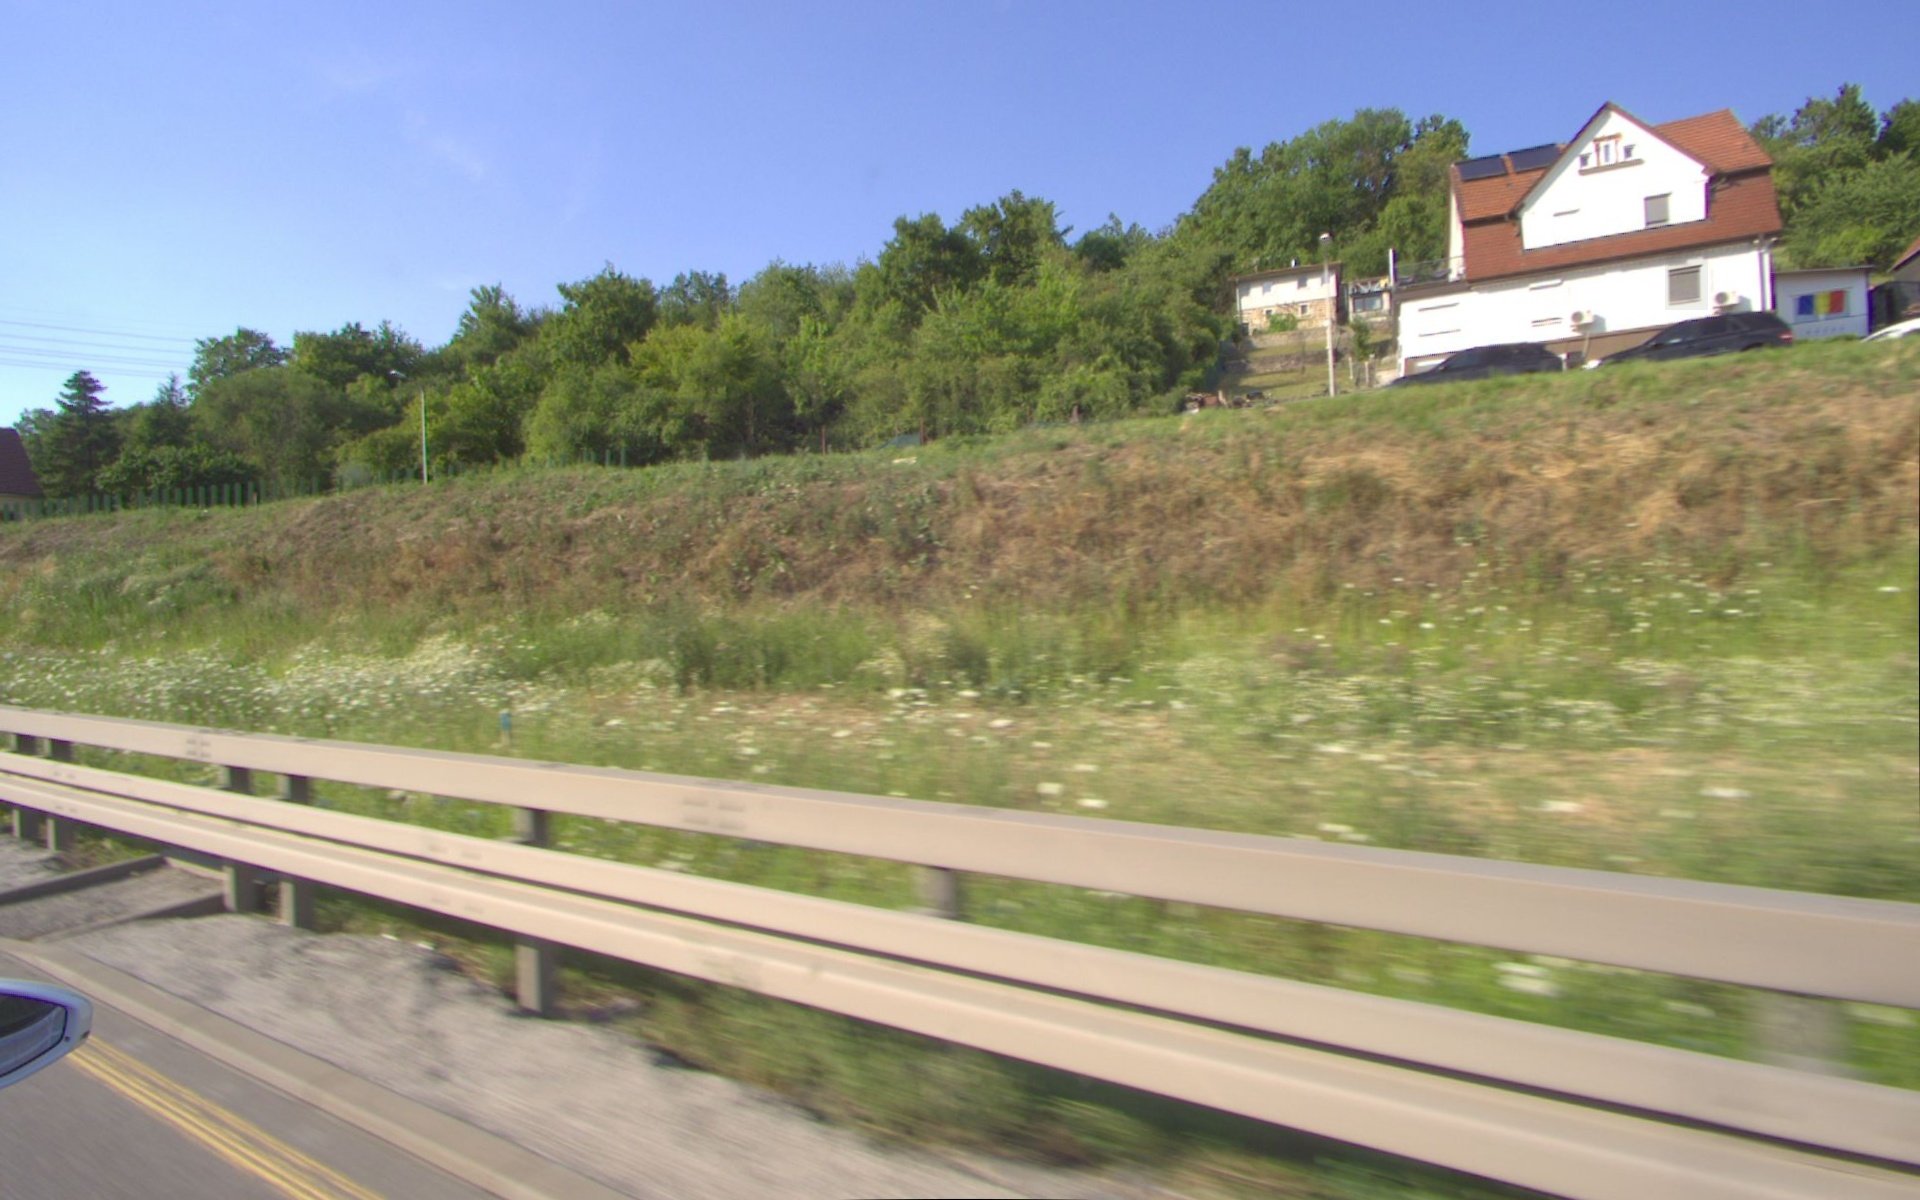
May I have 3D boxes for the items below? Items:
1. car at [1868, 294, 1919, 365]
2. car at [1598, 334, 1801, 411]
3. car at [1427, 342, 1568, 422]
[{"bbox_3d":[23.547,-6.373,22.934,3.835,1.248,1.345,-1,-2,23],"label":"car"},{"bbox_3d":[18.391,-5.649,25.077,3.833,1.248,1.346,0,-2,20],"label":"car"},{"bbox_3d":[14.180,-5.739,26.571,3.179,1.477,1.359,-1,-2,24],"label":"car"}]
